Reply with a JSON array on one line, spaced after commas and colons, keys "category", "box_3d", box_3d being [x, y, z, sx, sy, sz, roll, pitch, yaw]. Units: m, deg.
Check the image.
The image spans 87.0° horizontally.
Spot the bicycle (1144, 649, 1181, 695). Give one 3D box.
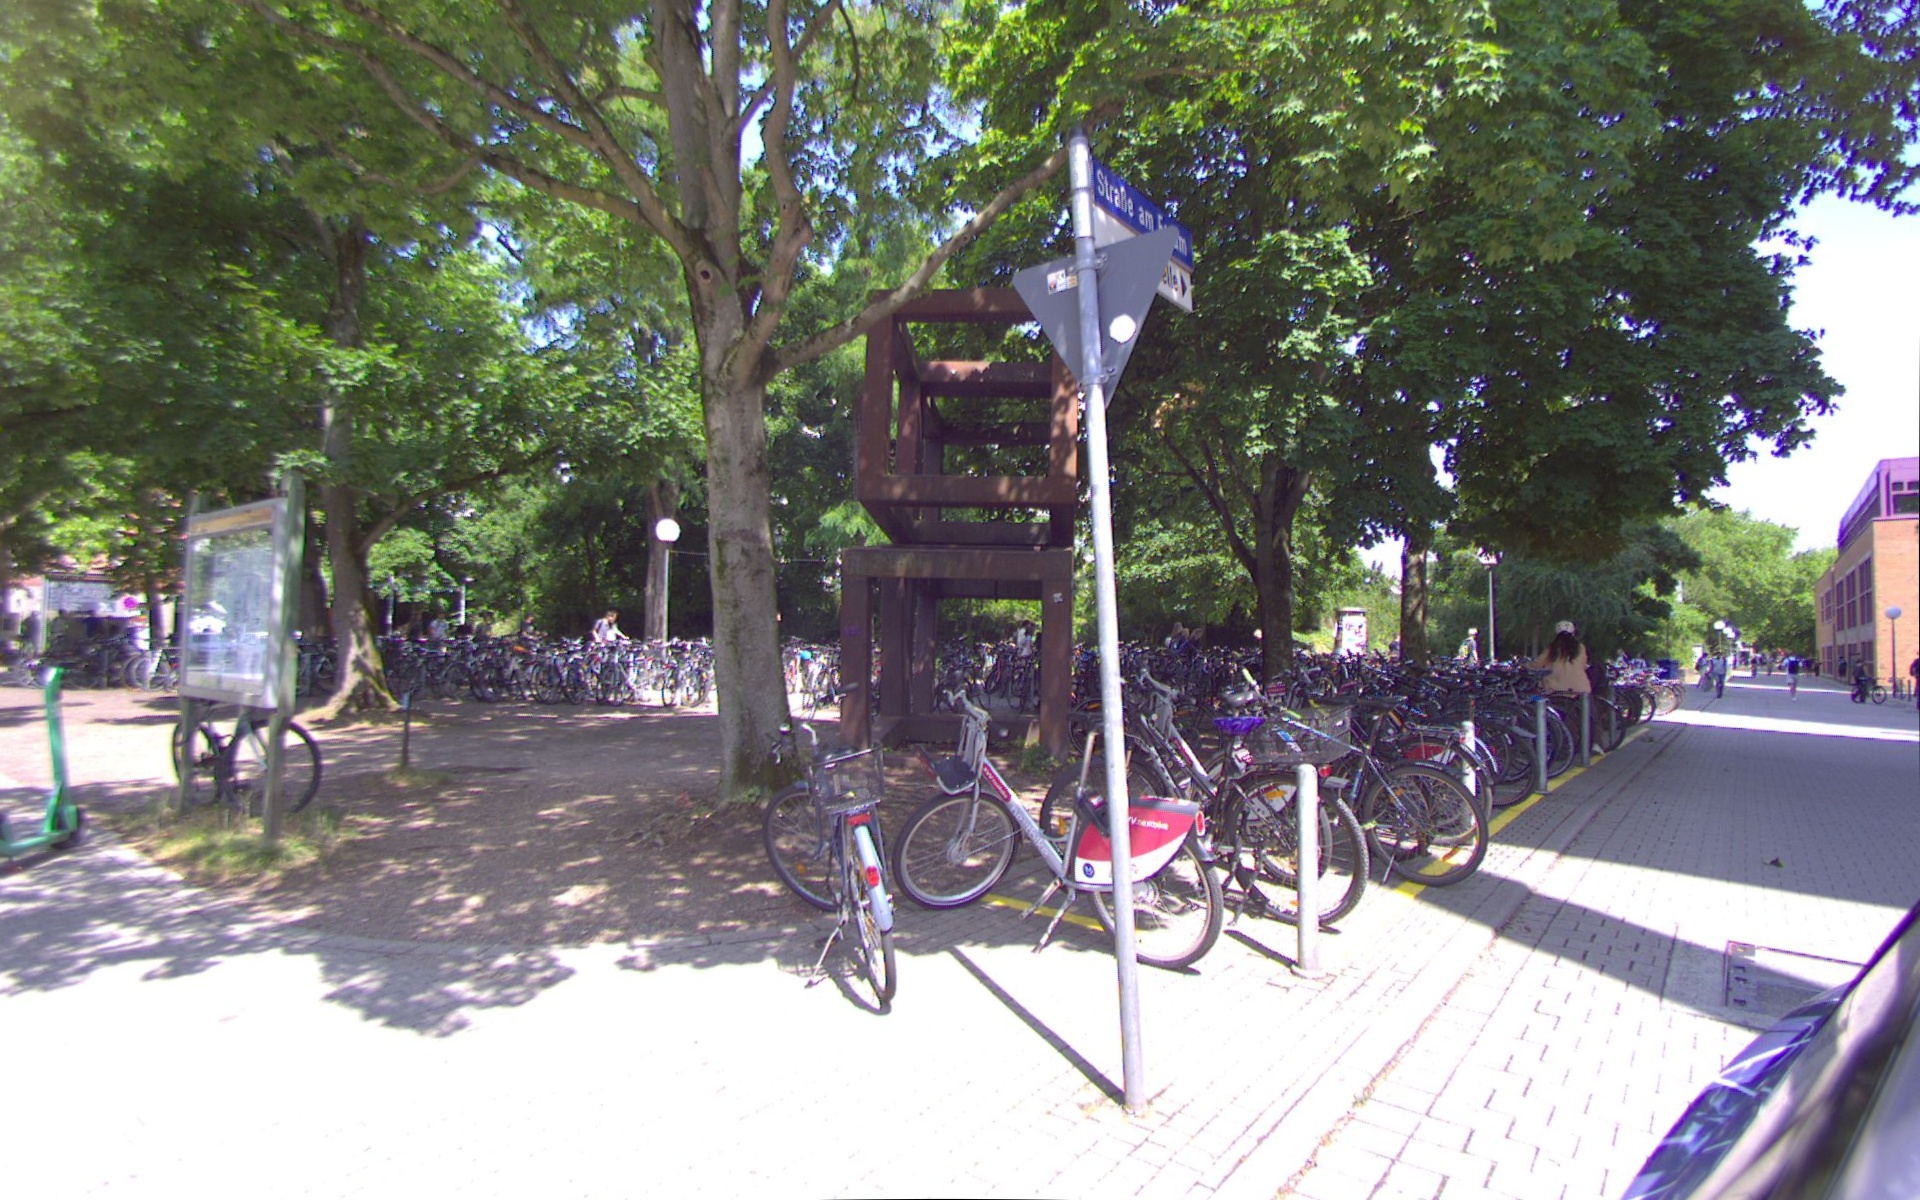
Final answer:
[{"category": "bicycle", "box_3d": [5.054, 1.776, 25.322, 0.345, 1.098, 1.473, 4, -4, -10]}]

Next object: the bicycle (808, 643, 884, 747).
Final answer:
[{"category": "bicycle", "box_3d": [-1.312, 1.069, 11.954, 0.621, 1.124, 1.923, 0, -3, 2]}]

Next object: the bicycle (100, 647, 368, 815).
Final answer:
[{"category": "bicycle", "box_3d": [-5.152, 0.914, 7.200, 1.664, 1.098, 0.625, -2, -5, 16]}]

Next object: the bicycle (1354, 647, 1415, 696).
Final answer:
[{"category": "bicycle", "box_3d": [10.041, 1.688, 23.979, 0.345, 1.098, 1.474, 5, -4, -23]}]

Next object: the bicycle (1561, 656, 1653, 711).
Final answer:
[{"category": "bicycle", "box_3d": [14.056, 1.805, 22.007, 1.677, 1.098, 0.472, 1, -4, 35]}]

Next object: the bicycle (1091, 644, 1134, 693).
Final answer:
[{"category": "bicycle", "box_3d": [3.378, 1.500, 22.555, 0.469, 0.991, 1.905, 0, -1, -6]}]

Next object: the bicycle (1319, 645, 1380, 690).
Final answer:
[{"category": "bicycle", "box_3d": [10.068, 1.721, 26.199, 0.468, 1.098, 1.691, 4, -4, -19]}]

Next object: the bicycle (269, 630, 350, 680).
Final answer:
[{"category": "bicycle", "box_3d": [-14.793, 1.232, 23.004, 1.879, 1.096, 0.475, -1, -2, 19]}]

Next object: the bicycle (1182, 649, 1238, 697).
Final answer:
[{"category": "bicycle", "box_3d": [5.672, 1.640, 23.082, 0.468, 0.991, 1.906, 0, -1, -11]}]

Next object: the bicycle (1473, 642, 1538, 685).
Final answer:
[{"category": "bicycle", "box_3d": [14.520, 1.682, 26.977, 0.468, 1.098, 1.691, 4, -4, -14]}]

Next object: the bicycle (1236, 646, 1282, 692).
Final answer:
[{"category": "bicycle", "box_3d": [7.616, 1.751, 25.822, 0.469, 1.098, 1.689, 3, -4, -7]}]

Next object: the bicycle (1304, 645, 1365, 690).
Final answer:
[{"category": "bicycle", "box_3d": [9.618, 1.726, 26.043, 0.468, 1.098, 1.691, 4, -4, -19]}]

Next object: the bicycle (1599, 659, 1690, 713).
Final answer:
[{"category": "bicycle", "box_3d": [15.279, 1.907, 22.626, 1.677, 1.098, 0.522, 1, -4, 34]}]

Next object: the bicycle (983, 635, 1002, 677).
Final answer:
[{"category": "bicycle", "box_3d": [0.812, 1.380, 25.174, 0.396, 0.991, 1.596, 0, -1, -1]}]

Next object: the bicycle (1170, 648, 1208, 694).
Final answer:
[{"category": "bicycle", "box_3d": [5.751, 1.770, 25.452, 0.345, 1.098, 1.473, 4, -4, -10]}]

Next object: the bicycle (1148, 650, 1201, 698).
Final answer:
[{"category": "bicycle", "box_3d": [4.851, 1.656, 22.997, 0.468, 0.991, 1.906, 0, -1, -11]}]

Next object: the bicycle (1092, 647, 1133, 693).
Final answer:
[{"category": "bicycle", "box_3d": [3.766, 1.723, 25.125, 0.345, 1.098, 1.474, 4, -4, -17]}]

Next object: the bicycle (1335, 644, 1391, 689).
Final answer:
[{"category": "bicycle", "box_3d": [10.492, 1.718, 26.395, 0.469, 1.098, 1.690, 4, -4, -12]}]

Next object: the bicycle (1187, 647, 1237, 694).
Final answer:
[{"category": "bicycle", "box_3d": [6.353, 1.764, 25.528, 0.345, 1.098, 1.474, 5, -4, -25]}]

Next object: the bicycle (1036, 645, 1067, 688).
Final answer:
[{"category": "bicycle", "box_3d": [2.281, 1.642, 25.282, 0.371, 0.991, 1.804, 0, -1, -8]}]

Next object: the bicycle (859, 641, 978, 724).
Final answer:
[{"category": "bicycle", "box_3d": [-0.569, 1.146, 14.154, 1.639, 1.124, 0.475, 0, -3, 3]}]

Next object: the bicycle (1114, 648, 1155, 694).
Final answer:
[{"category": "bicycle", "box_3d": [4.388, 1.780, 25.483, 0.345, 1.098, 1.474, 4, -4, -17]}]

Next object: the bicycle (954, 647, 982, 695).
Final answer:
[{"category": "bicycle", "box_3d": [0.167, 1.562, 22.622, 0.469, 0.991, 1.905, 0, -1, -5]}]

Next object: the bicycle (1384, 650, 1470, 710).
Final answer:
[{"category": "bicycle", "box_3d": [8.957, 1.521, 19.451, 1.462, 1.098, 0.348, -1, -3, 36]}]

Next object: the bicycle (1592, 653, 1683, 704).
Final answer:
[{"category": "bicycle", "box_3d": [15.869, 1.825, 23.737, 0.519, 1.098, 1.685, 6, -5, -40]}]

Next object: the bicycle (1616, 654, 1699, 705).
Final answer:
[{"category": "bicycle", "box_3d": [17.361, 1.982, 25.219, 1.677, 1.165, 0.544, 1, -4, 34]}]

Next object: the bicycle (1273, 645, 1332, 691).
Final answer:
[{"category": "bicycle", "box_3d": [8.787, 1.732, 26.031, 0.468, 1.098, 1.691, 4, -4, -19]}]

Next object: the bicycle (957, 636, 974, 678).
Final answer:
[{"category": "bicycle", "box_3d": [0.136, 1.387, 24.967, 0.396, 0.991, 1.596, 0, -1, -1]}]

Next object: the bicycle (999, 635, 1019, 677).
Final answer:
[{"category": "bicycle", "box_3d": [1.201, 1.380, 25.167, 0.396, 0.991, 1.596, 0, -1, -1]}]

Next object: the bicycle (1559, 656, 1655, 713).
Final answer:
[{"category": "bicycle", "box_3d": [13.571, 1.760, 21.258, 1.677, 1.098, 0.472, 1, -4, 35]}]

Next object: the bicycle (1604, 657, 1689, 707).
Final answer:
[{"category": "bicycle", "box_3d": [16.414, 1.950, 24.234, 1.677, 1.098, 0.522, 1, -4, 34]}]

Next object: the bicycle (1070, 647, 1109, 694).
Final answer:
[{"category": "bicycle", "box_3d": [3.186, 1.729, 24.980, 0.345, 1.098, 1.474, 4, -4, -17]}]

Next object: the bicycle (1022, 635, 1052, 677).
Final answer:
[{"category": "bicycle", "box_3d": [1.910, 1.378, 25.254, 0.371, 0.991, 1.804, 0, -1, -8]}]

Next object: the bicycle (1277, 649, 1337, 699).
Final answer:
[{"category": "bicycle", "box_3d": [7.963, 1.688, 23.277, 0.468, 1.098, 1.474, 4, -4, -18]}]

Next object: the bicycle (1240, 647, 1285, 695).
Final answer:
[{"category": "bicycle", "box_3d": [6.858, 1.590, 23.032, 0.469, 0.991, 1.903, 0, -1, 1]}]

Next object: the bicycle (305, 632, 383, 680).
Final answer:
[{"category": "bicycle", "box_3d": [-14.585, 1.318, 23.974, 1.879, 1.096, 0.475, -1, -2, 19]}]

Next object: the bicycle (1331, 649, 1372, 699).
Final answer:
[{"category": "bicycle", "box_3d": [9.141, 1.716, 23.651, 0.445, 1.098, 1.469, 3, -4, 4]}]

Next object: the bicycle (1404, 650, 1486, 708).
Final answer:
[{"category": "bicycle", "box_3d": [9.691, 1.572, 20.236, 1.457, 1.098, 0.349, 0, -3, 27]}]

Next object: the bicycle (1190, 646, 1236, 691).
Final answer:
[{"category": "bicycle", "box_3d": [6.511, 1.757, 26.101, 0.345, 1.098, 1.474, 4, -4, -21]}]

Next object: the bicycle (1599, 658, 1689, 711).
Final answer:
[{"category": "bicycle", "box_3d": [15.571, 1.914, 23.066, 1.677, 1.098, 0.522, 1, -4, 34]}]

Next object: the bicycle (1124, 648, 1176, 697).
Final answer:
[{"category": "bicycle", "box_3d": [4.259, 1.609, 22.831, 0.468, 0.991, 1.906, 0, -1, -11]}]

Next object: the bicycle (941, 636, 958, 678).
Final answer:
[{"category": "bicycle", "box_3d": [-0.266, 1.390, 24.975, 0.396, 0.991, 1.596, 0, -1, -1]}]

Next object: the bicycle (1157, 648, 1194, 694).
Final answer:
[{"category": "bicycle", "box_3d": [5.398, 1.773, 25.389, 0.345, 1.098, 1.473, 4, -4, -10]}]

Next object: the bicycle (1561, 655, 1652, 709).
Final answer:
[{"category": "bicycle", "box_3d": [14.389, 1.813, 22.555, 1.677, 1.098, 0.522, 1, -4, 34]}]

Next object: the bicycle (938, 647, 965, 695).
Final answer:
[{"category": "bicycle", "box_3d": [-0.203, 1.563, 22.591, 0.469, 0.991, 1.905, 0, -1, -5]}]

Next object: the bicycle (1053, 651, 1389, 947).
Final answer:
[{"category": "bicycle", "box_3d": [1.235, 0.869, 4.921, 1.481, 1.156, 0.554, 1, 0, 37]}]

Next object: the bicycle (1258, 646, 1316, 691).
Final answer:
[{"category": "bicycle", "box_3d": [8.337, 1.737, 25.877, 0.468, 1.098, 1.691, 4, -4, -19]}]

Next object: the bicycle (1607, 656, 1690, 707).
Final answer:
[{"category": "bicycle", "box_3d": [16.874, 1.990, 24.835, 1.677, 1.165, 0.544, 1, -4, 34]}]

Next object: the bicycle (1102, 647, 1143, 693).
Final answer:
[{"category": "bicycle", "box_3d": [4.054, 1.752, 25.377, 0.345, 1.098, 1.474, 4, -4, -17]}]

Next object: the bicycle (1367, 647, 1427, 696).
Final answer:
[{"category": "bicycle", "box_3d": [10.399, 1.684, 24.133, 0.345, 1.098, 1.474, 5, -4, -23]}]

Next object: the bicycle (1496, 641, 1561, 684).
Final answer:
[{"category": "bicycle", "box_3d": [15.289, 1.672, 27.236, 0.468, 1.098, 1.691, 4, -4, -15]}]
